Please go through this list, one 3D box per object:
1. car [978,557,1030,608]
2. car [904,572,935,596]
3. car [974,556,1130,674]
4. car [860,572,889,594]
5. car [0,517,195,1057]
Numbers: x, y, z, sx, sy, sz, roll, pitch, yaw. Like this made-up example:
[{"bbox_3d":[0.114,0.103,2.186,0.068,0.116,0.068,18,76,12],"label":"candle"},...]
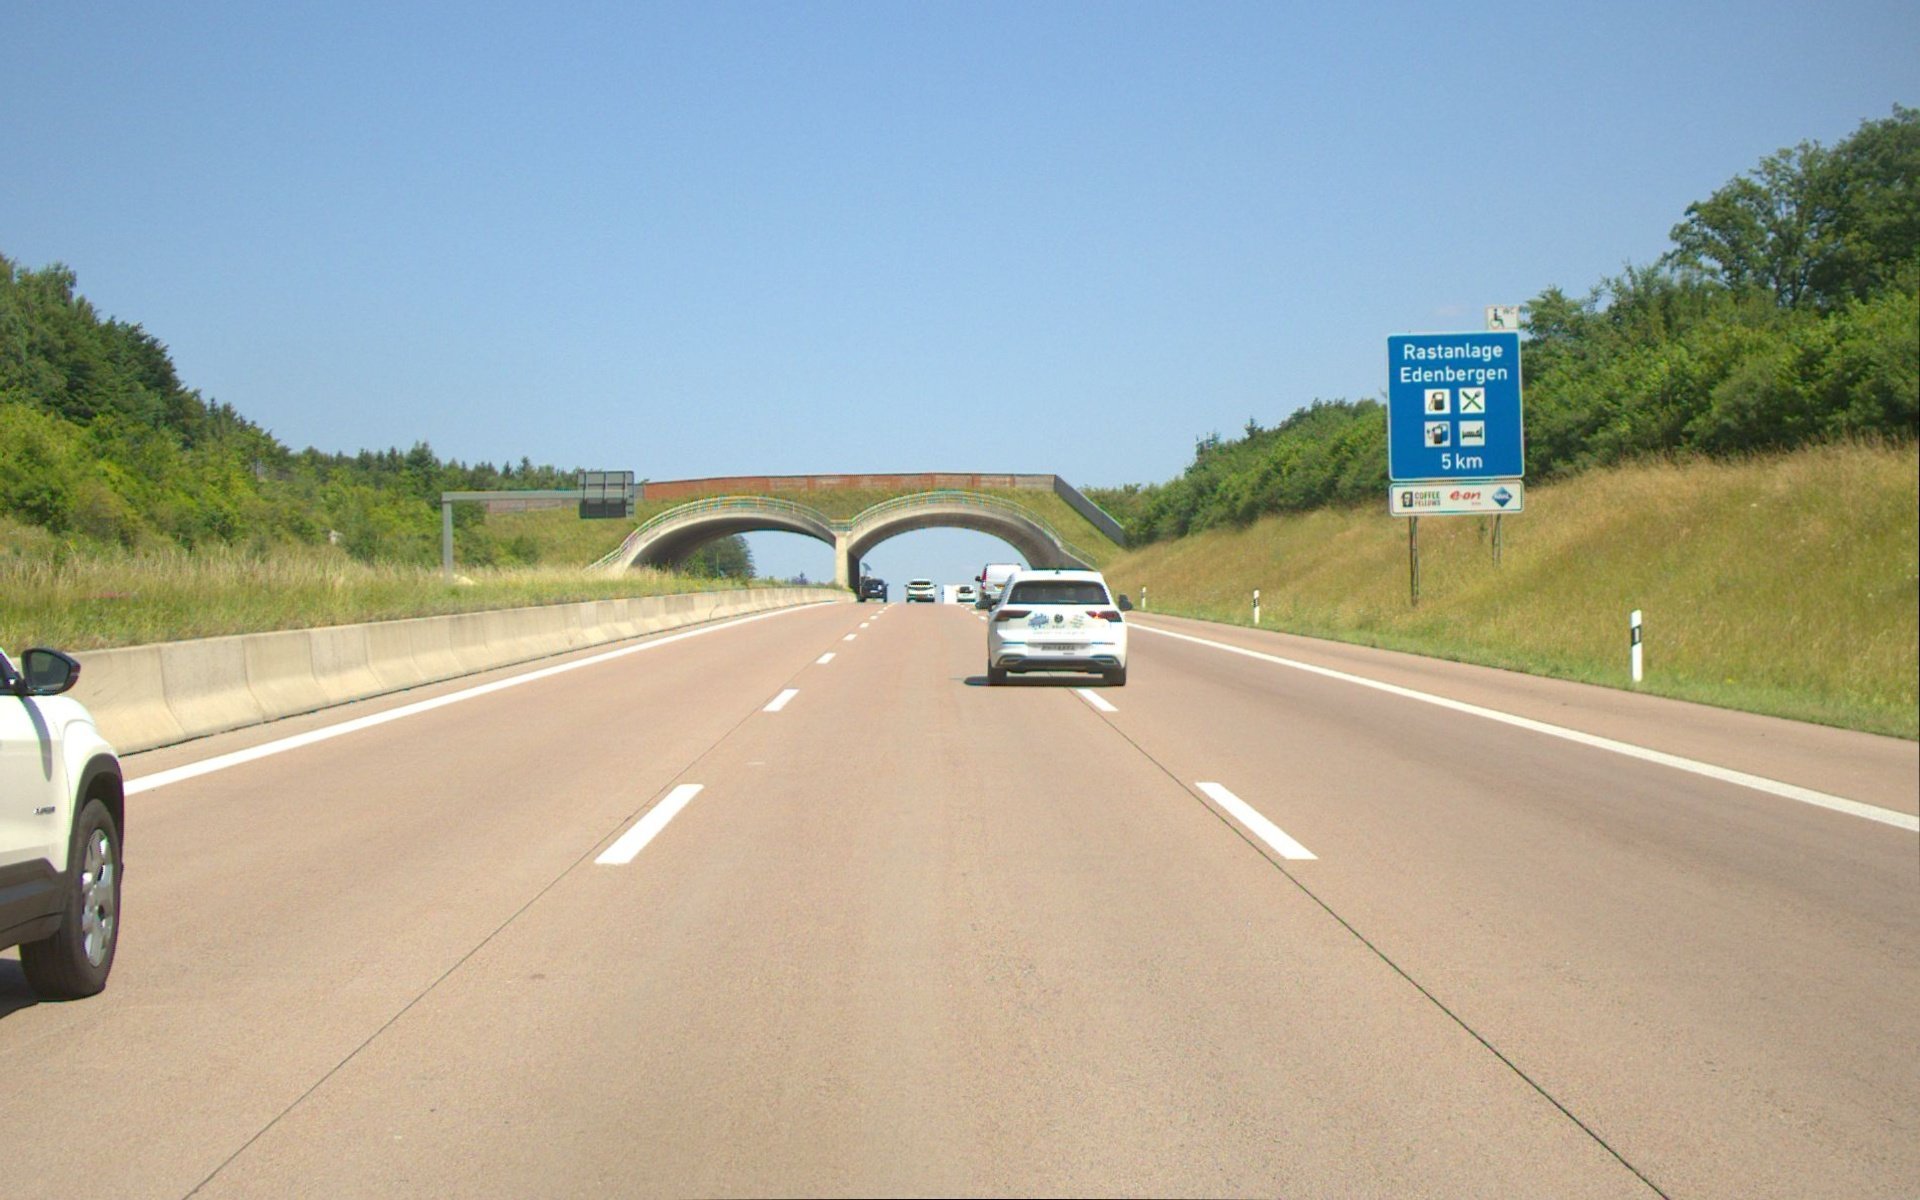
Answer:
[{"bbox_3d":[1.845,-0.748,143.722,2.110,2.047,4.000,0,1,1],"label":"car"},{"bbox_3d":[-2.569,-1.008,219.297,1.891,1.458,4.000,1,1,0],"label":"car"},{"bbox_3d":[1.177,0.159,44.094,1.891,1.393,4.000,1,1,1],"label":"car"},{"bbox_3d":[-6.163,-1.225,249.206,1.891,1.458,4.000,0,1,1],"label":"car"},{"bbox_3d":[-3.787,0.545,10.489,1.879,1.602,4.834,0,1,-1],"label":"car"}]
